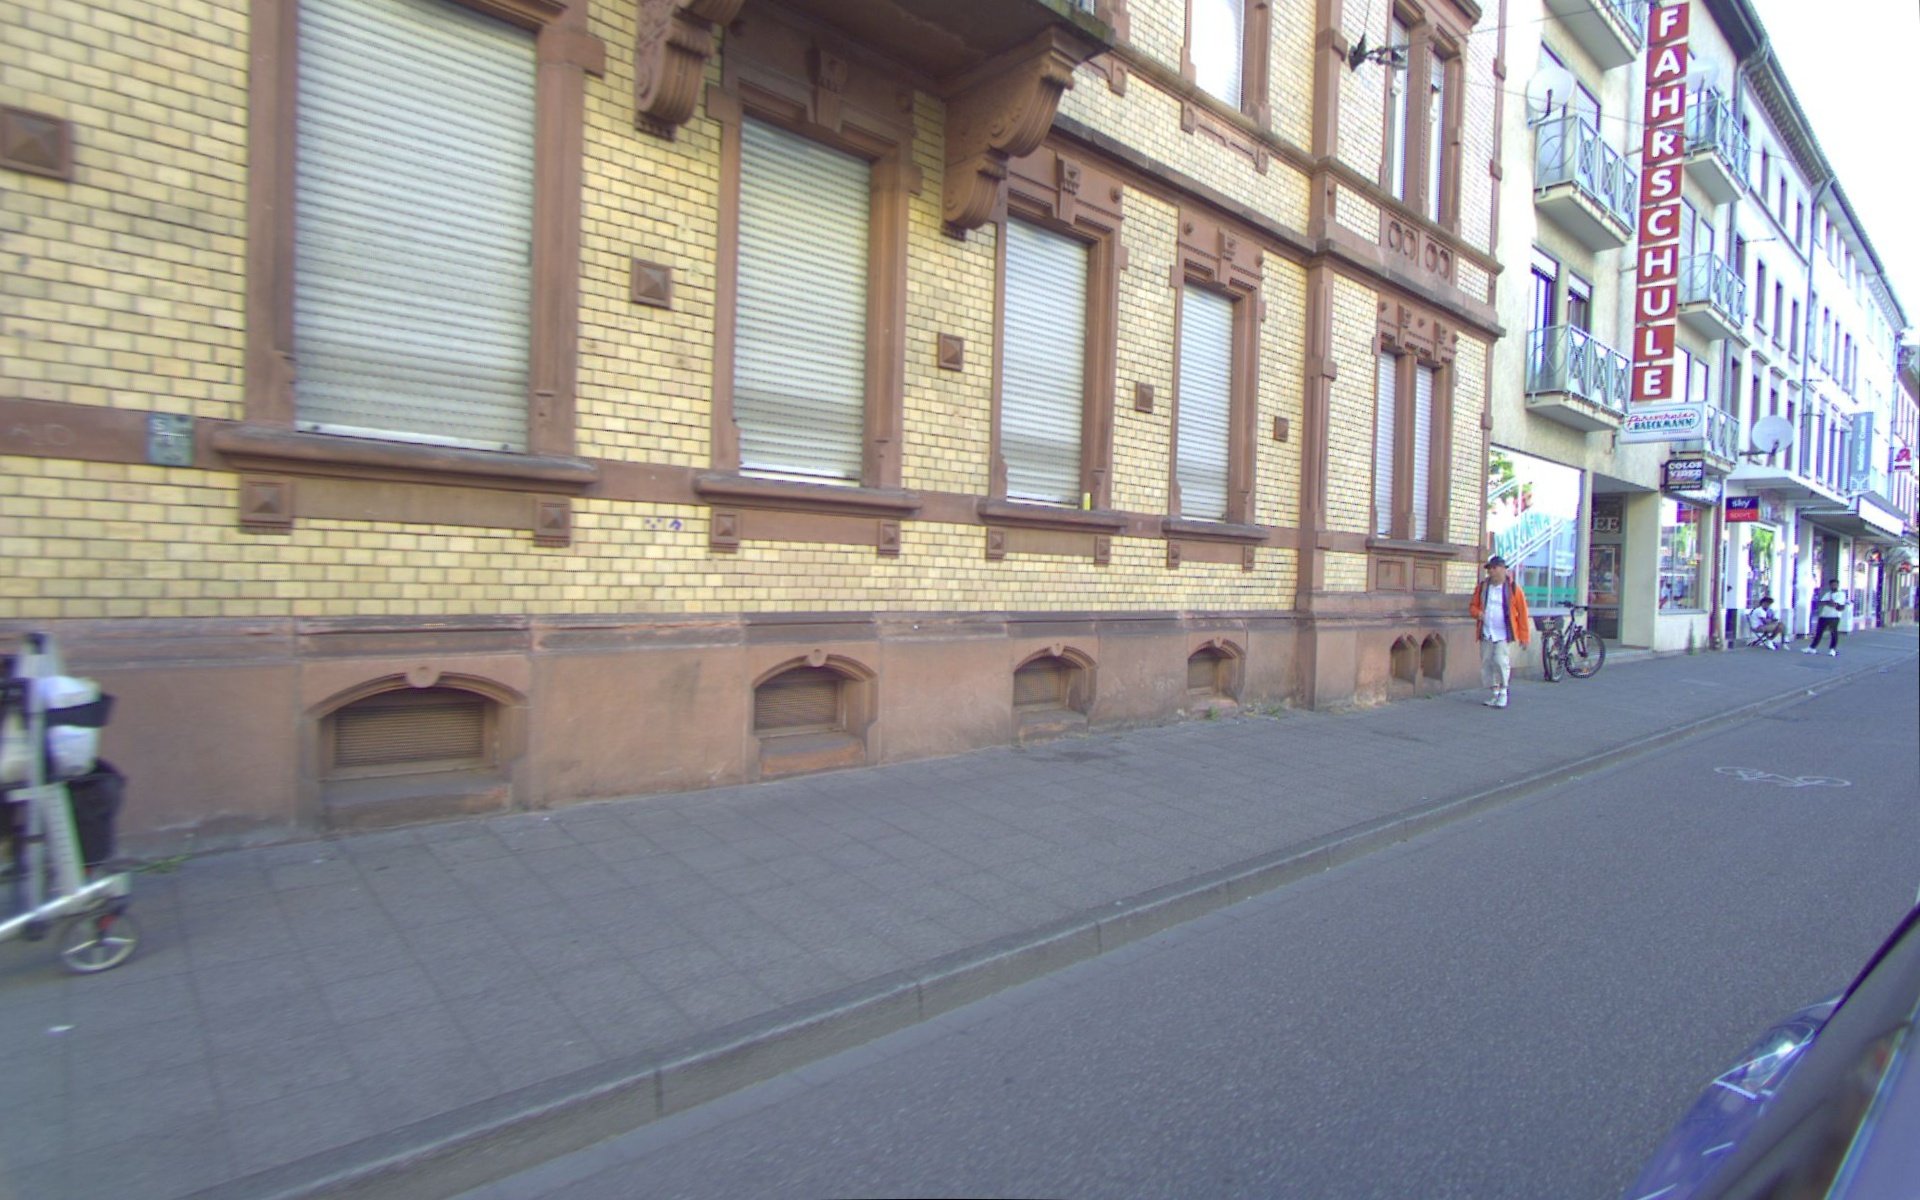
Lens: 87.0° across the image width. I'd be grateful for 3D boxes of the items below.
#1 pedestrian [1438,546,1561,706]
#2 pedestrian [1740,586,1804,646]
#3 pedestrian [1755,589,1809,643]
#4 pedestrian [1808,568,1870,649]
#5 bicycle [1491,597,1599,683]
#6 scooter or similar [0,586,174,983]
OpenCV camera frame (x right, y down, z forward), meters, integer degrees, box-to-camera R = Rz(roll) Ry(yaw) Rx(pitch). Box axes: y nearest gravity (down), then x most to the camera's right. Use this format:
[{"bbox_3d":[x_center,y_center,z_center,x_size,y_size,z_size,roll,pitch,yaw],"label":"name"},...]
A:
[{"bbox_3d":[6.049,0.271,11.353,0.811,1.646,0.800,2,6,-41],"label":"pedestrian"},{"bbox_3d":[19.322,0.363,24.099,0.819,1.269,0.704,7,5,13],"label":"pedestrian"},{"bbox_3d":[20.118,0.383,24.798,0.701,1.188,1.006,8,6,29],"label":"pedestrian"},{"bbox_3d":[21.119,0.192,24.317,0.665,1.832,0.709,3,6,-26],"label":"pedestrian"},{"bbox_3d":[8.198,0.519,14.135,2.271,1.073,0.556,0,4,-42],"label":"bicycle"},{"bbox_3d":[-2.942,0.540,3.323,0.512,1.082,0.807,0,6,-42],"label":"scooter or similar"}]
